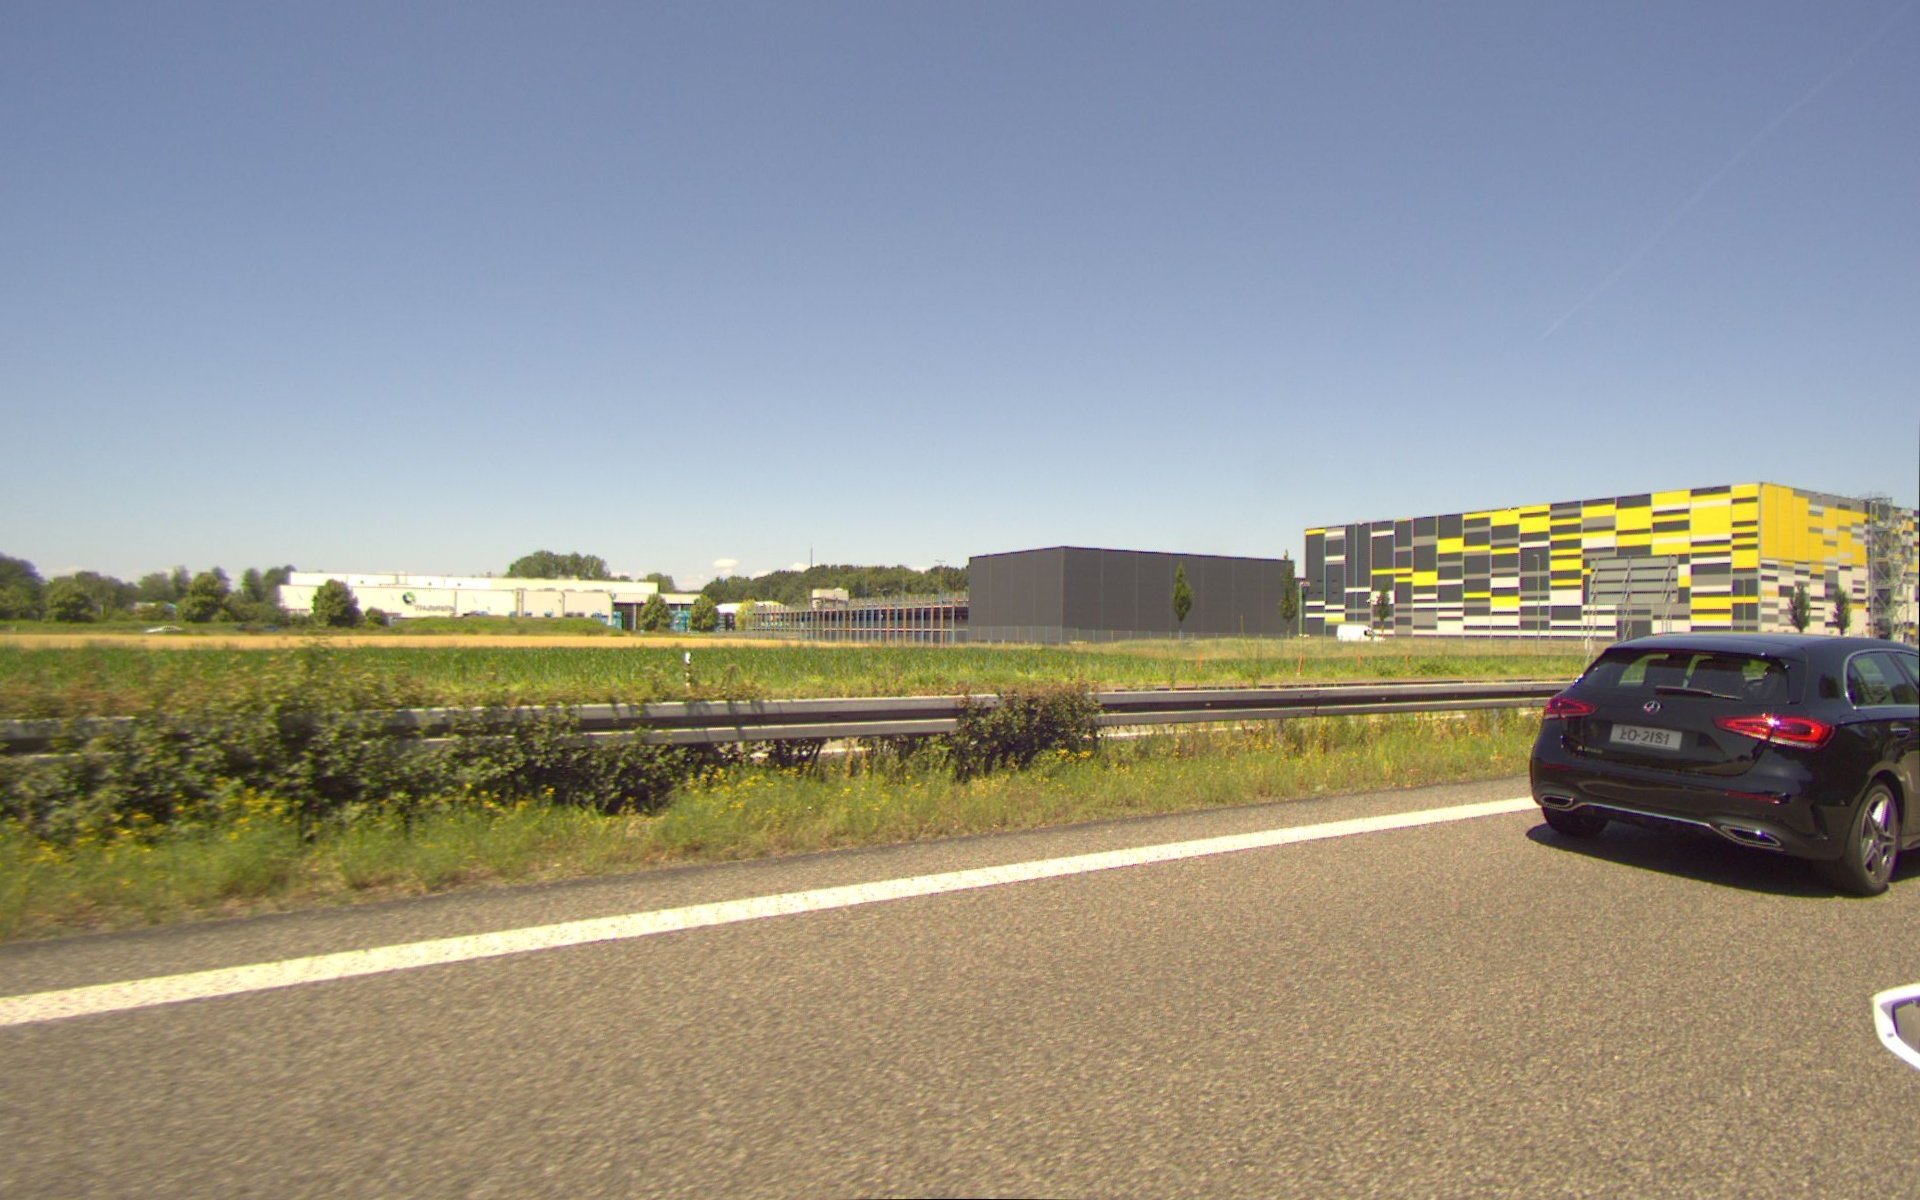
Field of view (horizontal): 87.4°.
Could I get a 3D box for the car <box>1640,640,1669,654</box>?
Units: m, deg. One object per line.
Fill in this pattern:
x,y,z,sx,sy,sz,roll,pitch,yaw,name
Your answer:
91.670,6.206,132.542,4.067,1.750,1.675,2,-2,-32,car

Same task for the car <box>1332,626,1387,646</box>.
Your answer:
44.680,4.048,112.299,5.506,2.206,2.106,-1,-2,28,car

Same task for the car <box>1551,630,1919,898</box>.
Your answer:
6.389,0.988,7.362,4.004,1.430,1.784,2,0,-30,car
